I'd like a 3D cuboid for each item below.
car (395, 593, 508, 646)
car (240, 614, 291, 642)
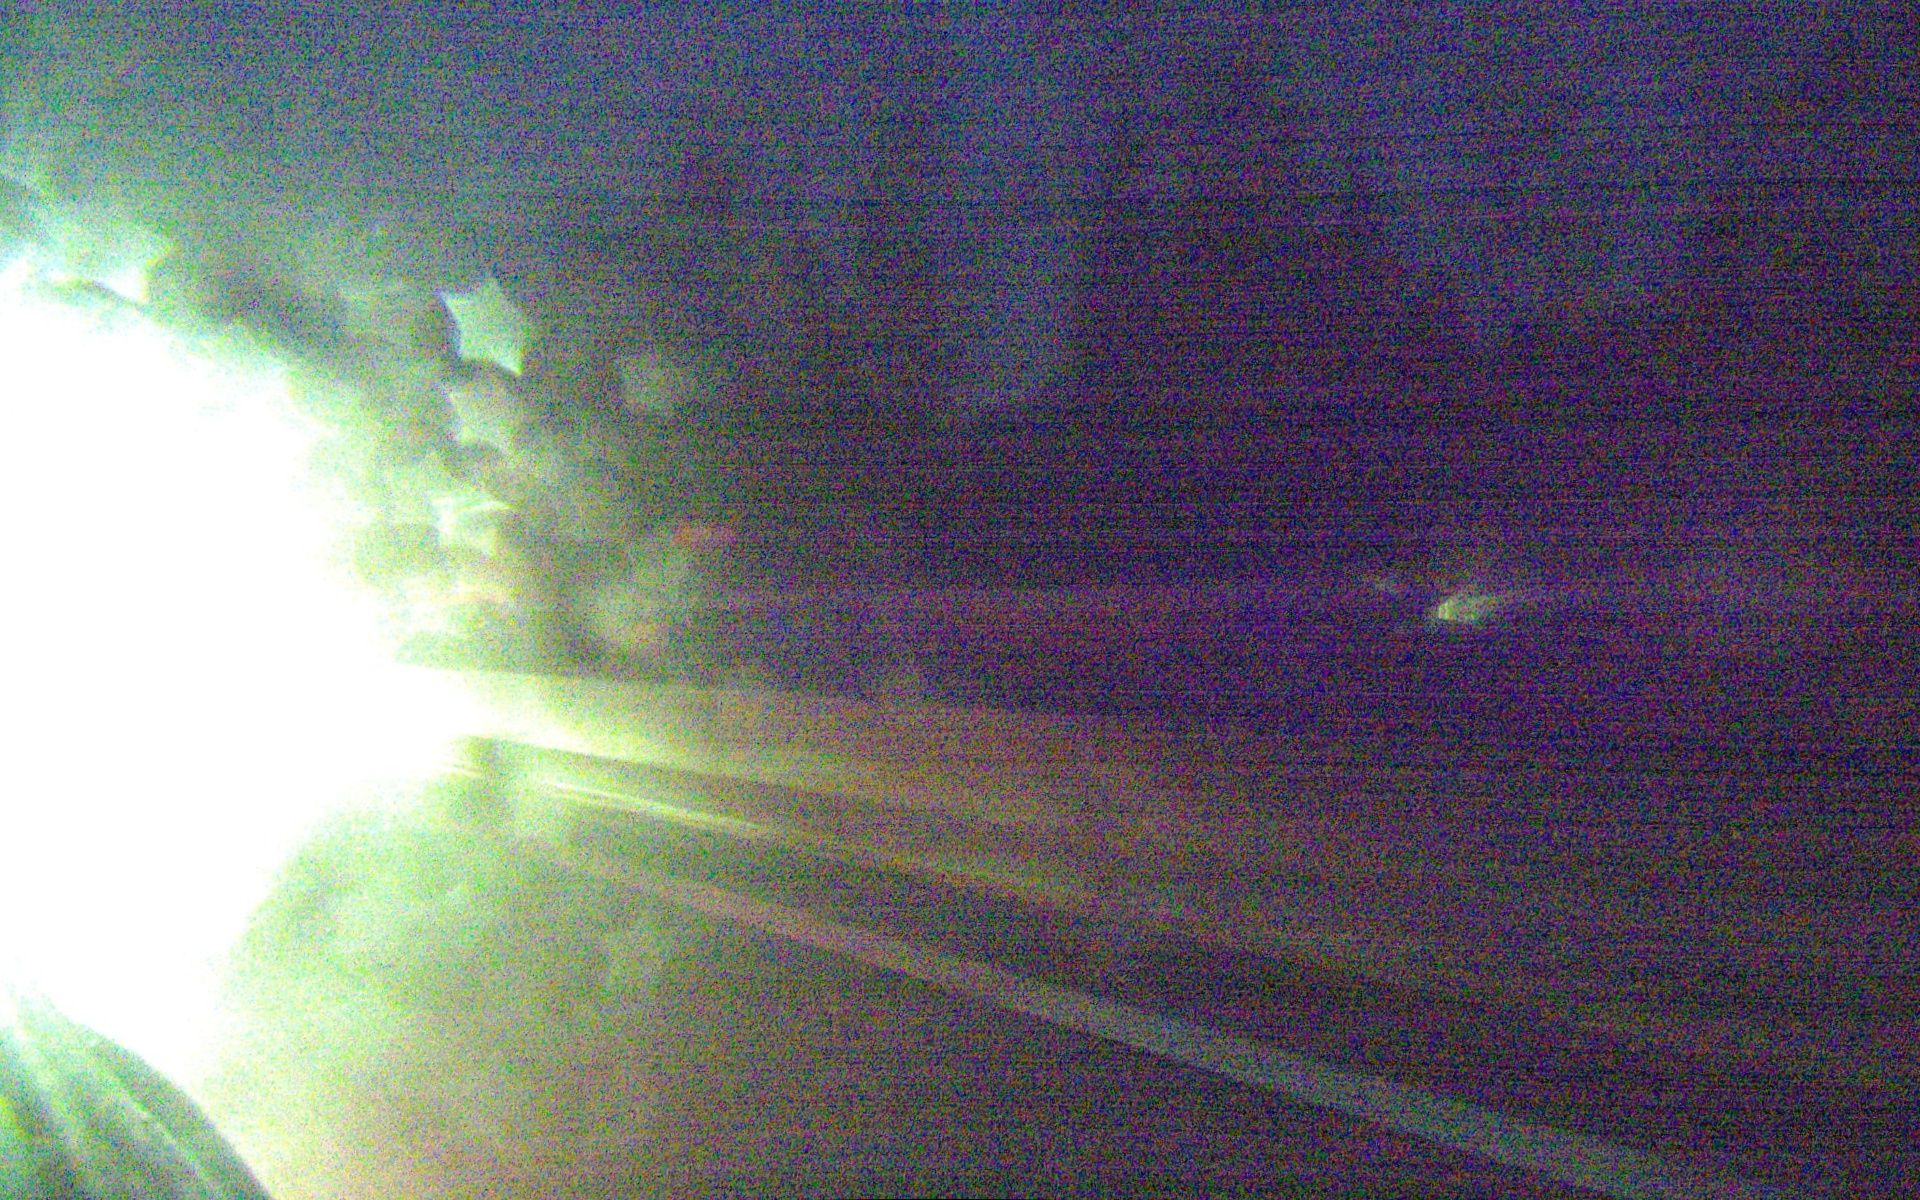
[{"bbox_3d":[-16.955,0.658,33.693,3.999,1.489,1.973,-3,2,43],"label":"car"},{"bbox_3d":[-45.237,1.827,65.911,4.002,1.616,1.971,-3,2,45],"label":"car"}]
